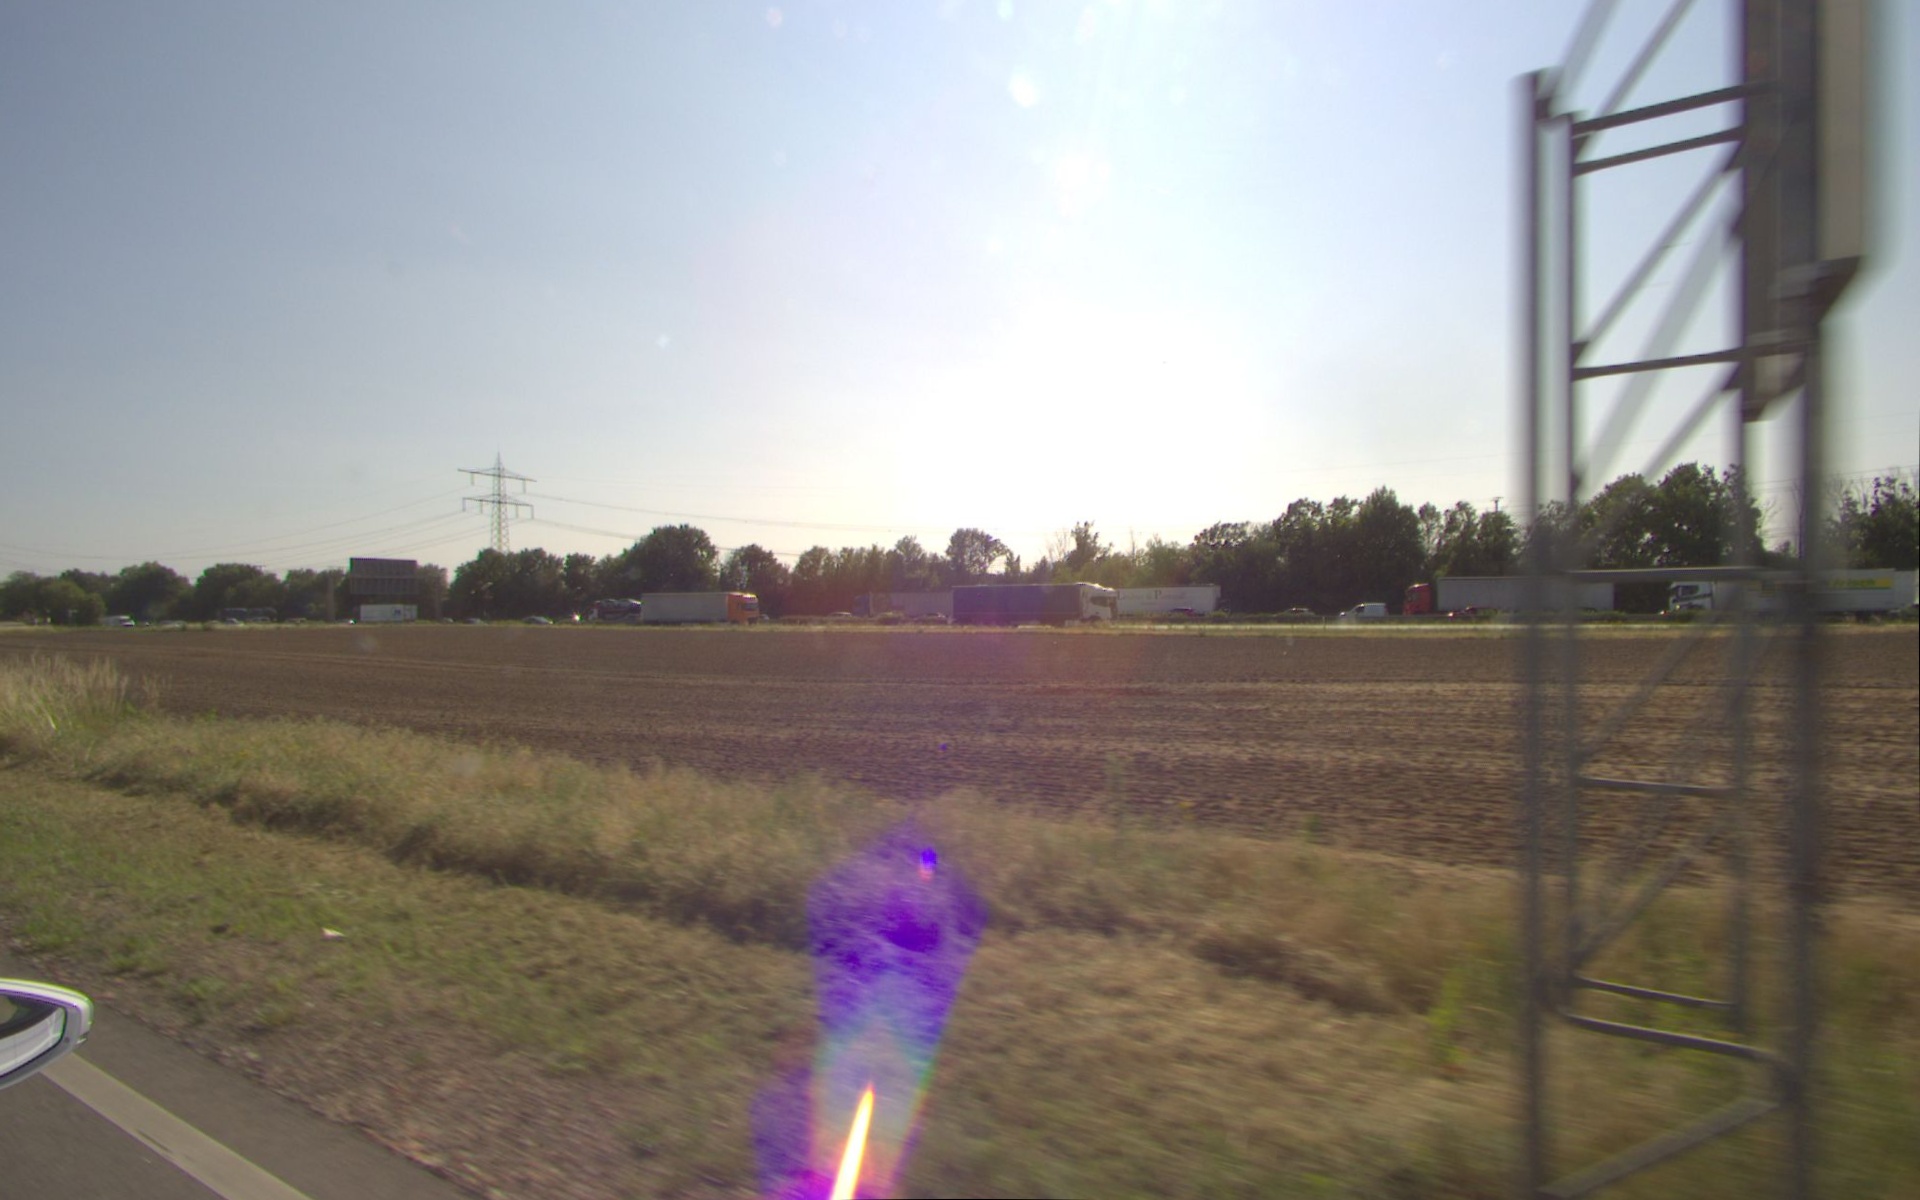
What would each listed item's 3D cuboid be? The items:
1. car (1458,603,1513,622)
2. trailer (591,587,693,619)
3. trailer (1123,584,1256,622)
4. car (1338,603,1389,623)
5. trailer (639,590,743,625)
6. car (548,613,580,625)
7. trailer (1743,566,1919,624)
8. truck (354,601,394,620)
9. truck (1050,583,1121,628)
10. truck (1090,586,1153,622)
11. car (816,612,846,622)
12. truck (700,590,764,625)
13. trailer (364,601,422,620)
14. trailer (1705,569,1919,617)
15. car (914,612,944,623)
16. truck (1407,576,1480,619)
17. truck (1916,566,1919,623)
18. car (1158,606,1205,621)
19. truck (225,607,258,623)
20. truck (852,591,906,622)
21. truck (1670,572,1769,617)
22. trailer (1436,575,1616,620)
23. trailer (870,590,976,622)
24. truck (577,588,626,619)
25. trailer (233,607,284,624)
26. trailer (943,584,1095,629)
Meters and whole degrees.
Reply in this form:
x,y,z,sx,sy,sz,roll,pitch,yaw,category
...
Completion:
x,y,z,sx,sy,sz,roll,pitch,yaw,category
44.234,1.097,84.269,4.034,1.528,1.701,-1,-2,31,car
-46.884,0.471,147.177,17.299,4.512,3.416,-1,0,29,trailer
23.657,0.408,103.860,13.175,3.782,3.066,-1,-1,32,trailer
36.052,1.163,89.396,4.033,1.659,1.701,-1,-2,31,car
-31.406,0.950,116.578,13.513,3.899,3.099,-1,-1,30,trailer
-53.408,2.571,135.060,4.410,1.632,1.903,-1,-2,33,car
55.214,-0.242,63.338,8.589,3.460,2.788,-1,0,31,trailer
-107.568,1.962,183.743,6.875,3.310,3.279,-1,0,30,truck
11.372,0.483,90.635,5.526,3.852,3.068,1,0,30,truck
17.379,0.498,107.820,6.030,3.782,3.066,-1,-1,32,truck
-15.362,2.050,119.246,3.530,1.166,1.392,0,-1,32,car
-25.837,0.888,113.342,6.846,3.899,3.100,0,-1,30,truck
-102.374,1.876,180.741,12.271,3.310,3.279,-1,0,30,trailer
67.097,-0.482,77.456,14.861,3.578,3.197,-1,1,31,trailer
-3.495,1.998,112.776,3.134,1.166,1.393,0,-1,31,car
44.280,-0.162,91.746,5.784,3.782,2.941,0,-1,31,truck
63.529,-0.405,58.337,10.956,3.524,2.801,-1,0,31,truck
21.856,1.337,98.924,4.185,1.403,1.848,0,-1,31,car
-147.378,3.115,205.451,6.332,3.310,3.280,0,0,30,truck
-10.054,0.791,124.307,6.000,3.782,3.066,0,0,33,truck
61.252,-0.413,80.995,6.019,3.578,3.197,-1,1,31,truck
49.703,-0.124,88.429,13.581,3.782,2.941,-1,-1,31,trailer
-4.542,0.721,120.742,13.435,3.782,3.065,0,0,33,trailer
-54.118,0.593,151.266,6.605,4.512,3.417,-1,0,29,truck
-141.676,3.097,202.103,13.251,3.310,3.280,0,0,30,trailer
5.406,0.528,94.077,14.370,3.852,3.068,1,0,30,trailer
